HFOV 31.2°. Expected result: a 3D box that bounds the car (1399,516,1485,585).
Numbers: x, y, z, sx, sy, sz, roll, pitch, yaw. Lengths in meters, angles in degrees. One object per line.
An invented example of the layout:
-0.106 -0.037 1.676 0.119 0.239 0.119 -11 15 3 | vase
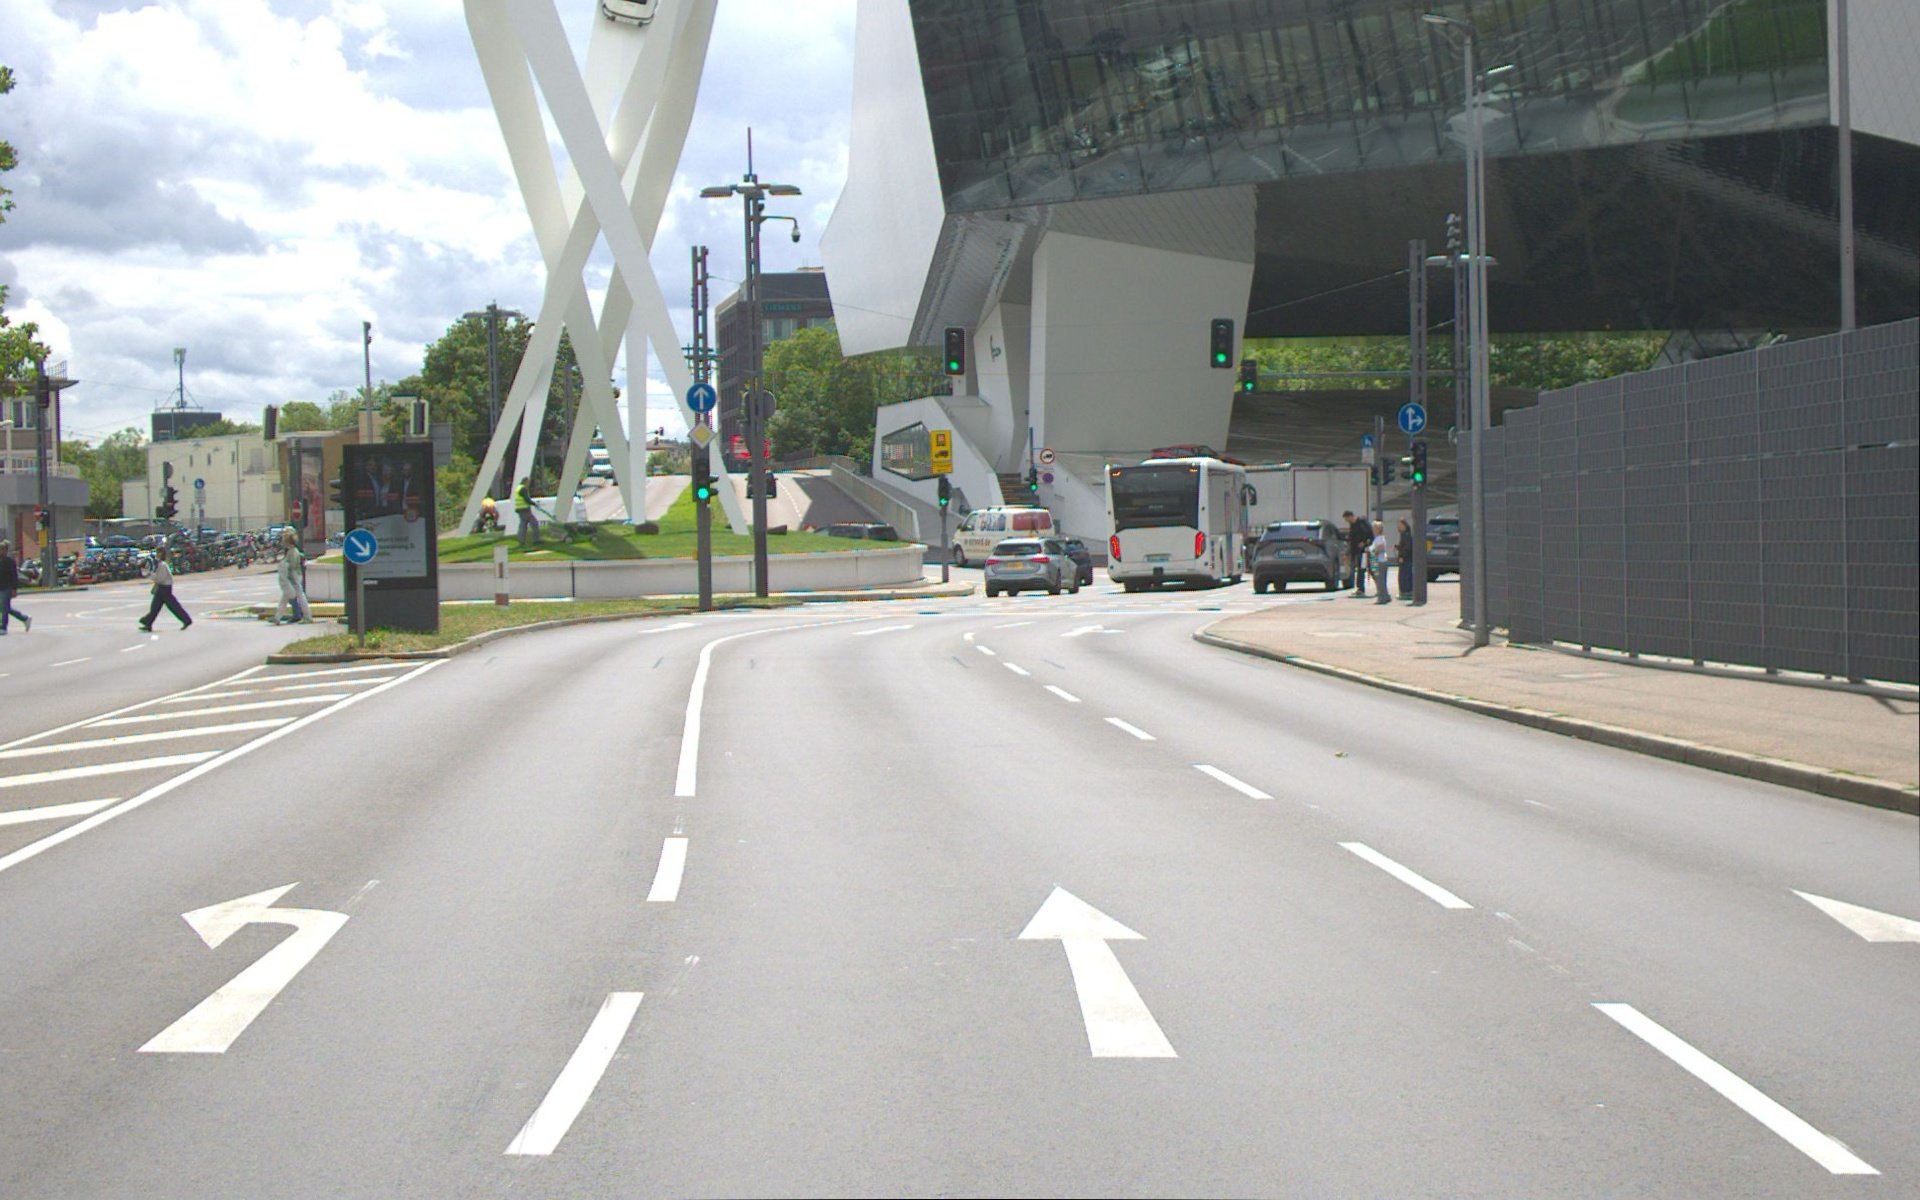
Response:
11.760 -1.182 83.667 1.994 1.631 3.998 0 0 9 | car

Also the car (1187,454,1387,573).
10.011 -2.595 106.454 3.334 3.492 9.344 0 0 -13 | car

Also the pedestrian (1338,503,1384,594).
8.264 -1.067 70.916 0.659 1.860 0.793 0 0 -18 | pedestrian

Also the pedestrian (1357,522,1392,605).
8.114 -0.714 67.271 0.659 1.602 0.823 0 0 7 | pedestrian

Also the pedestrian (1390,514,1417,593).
9.064 -0.952 70.259 0.464 1.610 0.663 0 0 -1 | pedestrian

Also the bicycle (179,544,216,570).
-28.916 -1.648 130.400 0.492 0.863 1.609 0 5 24 | bicycle

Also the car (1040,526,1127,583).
3.611 -1.310 100.170 1.994 1.631 3.998 0 0 10 | car

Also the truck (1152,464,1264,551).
7.507 -2.781 104.527 2.206 2.507 5.134 0 0 -10 | truck

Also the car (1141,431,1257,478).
9.842 -5.998 141.733 4.510 1.390 1.995 10 12 42 | car

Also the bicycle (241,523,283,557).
-27.524 -2.371 135.580 1.605 1.312 0.493 0 0 -4 | bicycle

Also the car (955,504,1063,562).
1.613 -2.228 114.916 1.993 1.897 4.001 0 0 -27 | car

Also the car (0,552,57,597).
-39.143 -1.054 141.487 3.474 1.798 1.703 0 0 13 | car

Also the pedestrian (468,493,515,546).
-13.319 -2.293 97.766 0.853 1.402 0.964 -7 -2 19 | pedestrian

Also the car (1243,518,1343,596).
7.538 -0.998 77.554 1.994 1.631 3.999 0 2 9 | car

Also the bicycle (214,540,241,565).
-28.310 -1.839 132.828 0.491 0.863 1.611 -1 4 7 | bicycle

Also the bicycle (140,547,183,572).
-29.919 -1.527 128.866 0.492 0.863 1.608 0 3 37 | bicycle

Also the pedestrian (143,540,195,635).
-14.900 -0.233 64.739 0.863 1.767 1.036 0 0 -17 | pedestrian

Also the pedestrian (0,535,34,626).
-18.508 -0.380 66.999 0.863 1.767 1.036 0 0 -17 | pedestrian

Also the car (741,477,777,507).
-11.541 -6.229 197.718 1.993 1.630 4.656 0 3 -2 | car

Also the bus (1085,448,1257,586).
5.633 -2.053 89.516 3.073 3.350 12.218 0 0 10 | bus

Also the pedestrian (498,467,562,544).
-10.788 -2.375 86.322 1.281 1.810 0.987 -5 5 -19 | pedestrian

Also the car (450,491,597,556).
-14.841 -2.612 117.010 4.640 2.163 2.000 0 0 4 | car

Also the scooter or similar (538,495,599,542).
-9.861 -2.057 86.601 1.400 1.022 0.550 -5 7 -22 | scooter or similar

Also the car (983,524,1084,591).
1.851 -1.055 85.733 1.994 1.631 3.998 0 0 9 | car

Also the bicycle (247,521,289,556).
-27.586 -2.463 137.112 1.605 1.378 0.493 0 0 -4 | bicycle

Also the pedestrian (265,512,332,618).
-12.818 -0.675 66.644 0.953 2.048 0.950 0 0 15 | pedestrian

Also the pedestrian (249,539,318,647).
-12.919 -0.136 65.659 0.953 2.048 0.950 0 0 15 | pedestrian
